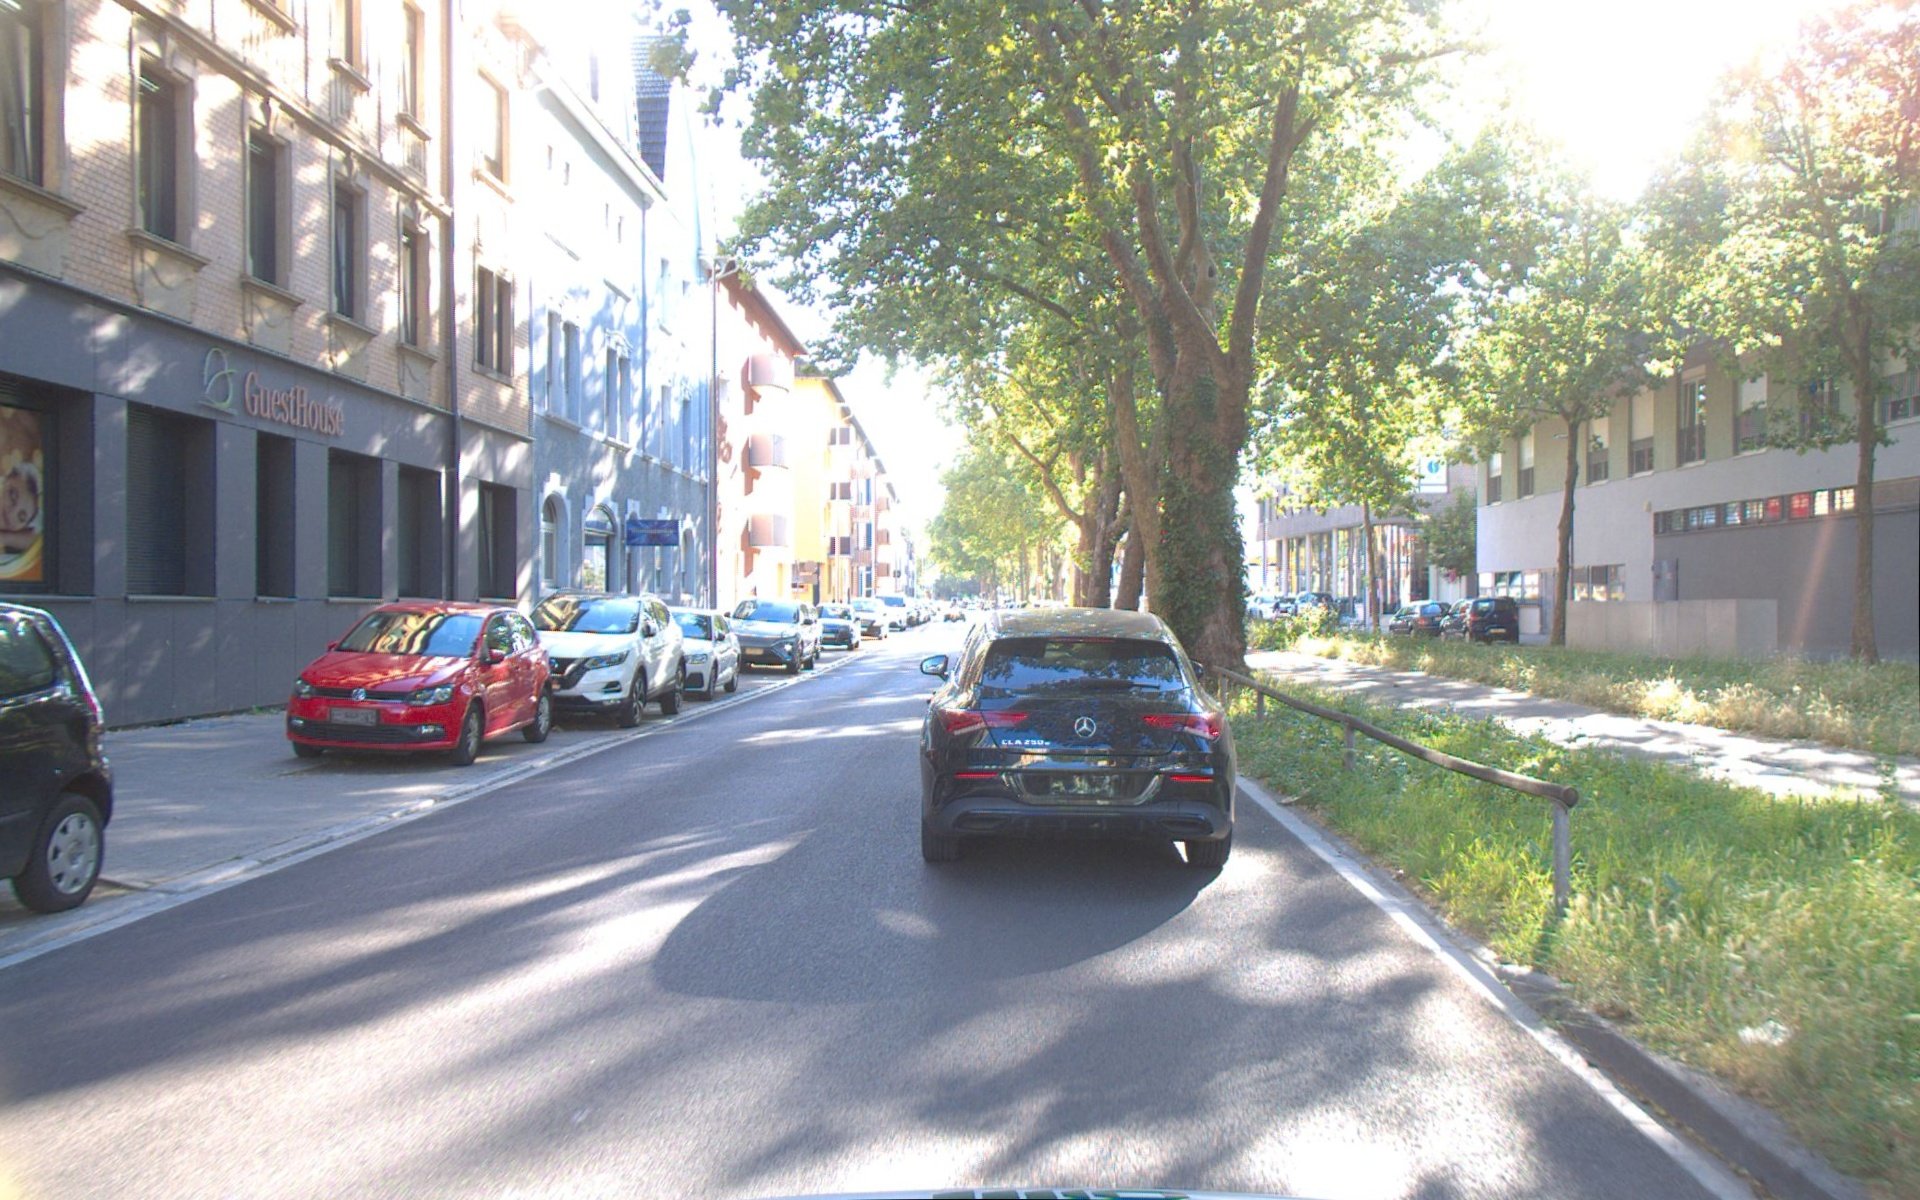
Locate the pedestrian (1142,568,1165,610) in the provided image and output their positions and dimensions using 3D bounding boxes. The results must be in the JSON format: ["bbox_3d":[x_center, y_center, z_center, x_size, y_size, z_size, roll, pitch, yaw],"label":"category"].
[{"bbox_3d":[8.404,-0.456,71.864,0.754,1.792,0.662,-2,0,-11],"label":"pedestrian"}]

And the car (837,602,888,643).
[{"bbox_3d":[-3.921,0.885,67.084,1.643,1.550,4.022,1,0,2],"label":"car"}]

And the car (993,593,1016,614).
[{"bbox_3d":[4.414,0.355,164.254,1.954,2.049,3.997,0,-1,-3],"label":"car"}]

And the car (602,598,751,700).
[{"bbox_3d":[-4.624,0.755,27.499,1.643,1.522,3.873,1,0,2],"label":"car"}]

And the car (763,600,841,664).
[{"bbox_3d":[-4.436,0.860,46.820,1.643,1.670,3.986,1,0,2],"label":"car"}]

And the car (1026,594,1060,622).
[{"bbox_3d":[4.903,0.485,98.252,1.773,1.565,4.583,-3,0,1],"label":"car"}]

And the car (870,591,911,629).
[{"bbox_3d":[-3.639,0.494,87.367,1.698,1.940,5.210,1,0,2],"label":"car"}]

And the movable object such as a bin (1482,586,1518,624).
[{"bbox_3d":[21.296,0.201,65.251,1.167,1.488,1.408,-1,0,12],"label":"movable object such as a bin"}]

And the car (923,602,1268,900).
[{"bbox_3d":[0.653,0.778,10.445,1.709,1.468,3.967,1,0,-2],"label":"car"}]

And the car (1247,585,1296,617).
[{"bbox_3d":[17.676,0.068,93.981,1.838,1.764,4.179,-1,0,-2],"label":"car"}]

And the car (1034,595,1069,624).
[{"bbox_3d":[5.036,0.529,91.371,1.602,1.493,4.020,-2,-1,-1],"label":"car"}]

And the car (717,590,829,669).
[{"bbox_3d":[-4.238,0.632,38.132,1.868,1.670,4.578,1,0,2],"label":"car"}]

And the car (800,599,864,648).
[{"bbox_3d":[-4.140,0.742,54.003,1.643,1.512,3.602,1,0,2],"label":"car"}]

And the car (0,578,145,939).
[{"bbox_3d":[-5.208,0.704,6.805,1.642,1.633,3.707,1,0,4],"label":"car"}]

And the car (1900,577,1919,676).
[{"bbox_3d":[16.138,0.418,24.695,1.820,1.570,4.320,-1,0,1],"label":"car"}]

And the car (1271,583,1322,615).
[{"bbox_3d":[19.045,-0.086,93.743,1.945,1.764,4.180,-1,0,-1],"label":"car"}]

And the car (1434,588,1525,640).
[{"bbox_3d":[16.626,0.420,53.102,1.820,1.580,3.760,-1,0,1],"label":"car"}]

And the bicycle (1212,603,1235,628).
[{"bbox_3d":[11.084,0.643,69.682,0.376,1.021,1.480,-1,0,-15],"label":"bicycle"}]

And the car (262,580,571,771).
[{"bbox_3d":[-5.183,0.650,16.295,1.643,1.620,3.757,1,0,2],"label":"car"}]

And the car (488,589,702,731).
[{"bbox_3d":[-4.568,0.688,21.307,1.643,1.612,4.201,1,0,2],"label":"car"}]

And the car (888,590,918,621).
[{"bbox_3d":[-3.460,0.297,100.583,1.710,1.819,4.548,1,0,-1],"label":"car"}]

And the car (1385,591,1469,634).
[{"bbox_3d":[16.800,0.436,59.744,1.821,1.494,4.123,-1,0,-1],"label":"car"}]
